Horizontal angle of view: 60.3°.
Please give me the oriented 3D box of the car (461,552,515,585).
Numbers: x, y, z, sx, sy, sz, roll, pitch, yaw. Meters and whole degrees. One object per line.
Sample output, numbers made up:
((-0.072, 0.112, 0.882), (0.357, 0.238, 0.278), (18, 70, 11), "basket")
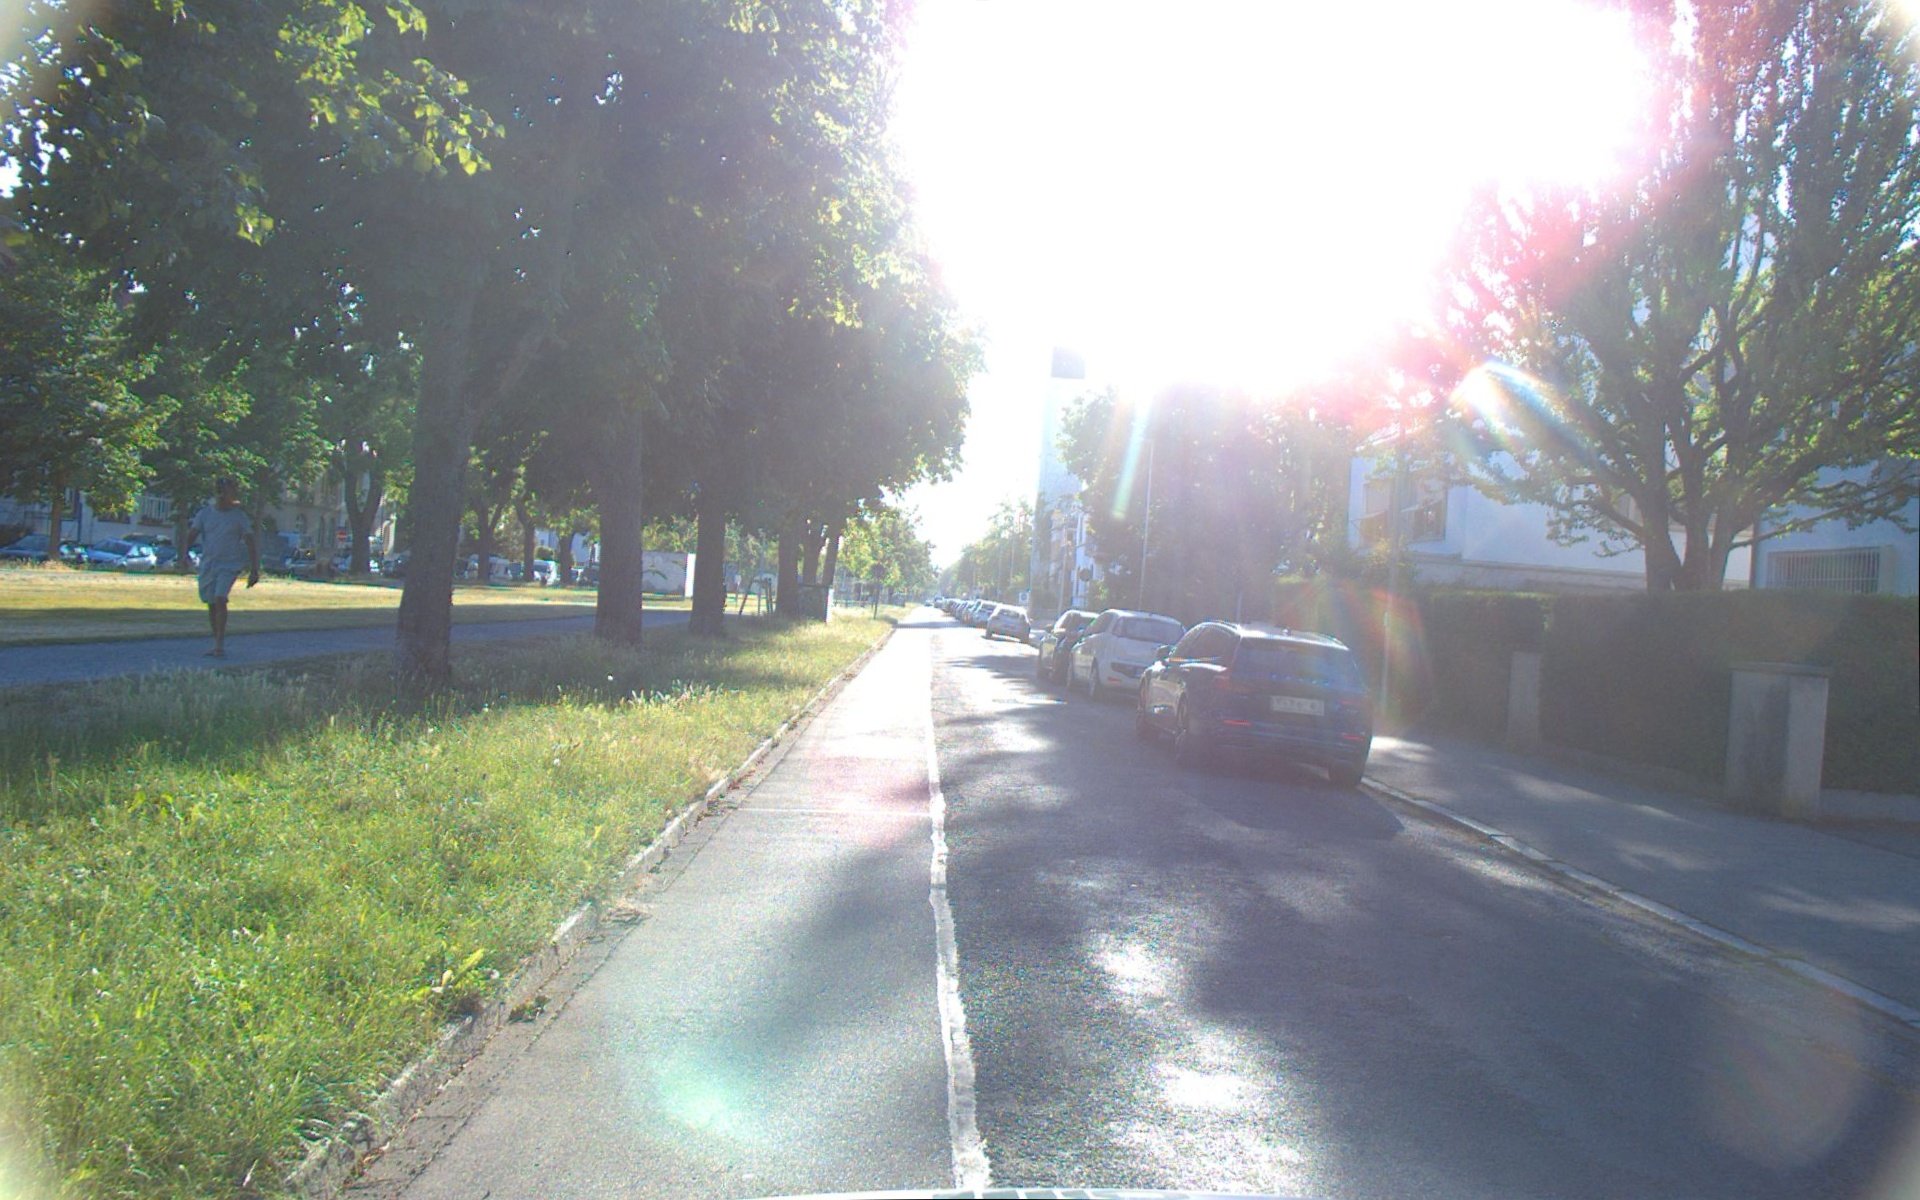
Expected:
((-35.544, -2.364, 124.663), (2.483, 2.275, 5.458), (3, 1, -1), "car")

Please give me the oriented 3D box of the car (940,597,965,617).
((-0.606, 0.535, 134.453), (1.953, 1.489, 4.000), (4, 0, 0), "car")

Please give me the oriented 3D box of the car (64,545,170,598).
((-34.140, -1.117, 67.127), (1.953, 1.892, 4.255), (4, 0, 0), "car")

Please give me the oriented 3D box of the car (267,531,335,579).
((-40.512, -2.737, 101.827), (1.953, 2.719, 5.186), (3, 0, -1), "car")

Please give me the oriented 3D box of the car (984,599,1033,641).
((2.038, 0.811, 70.065), (1.723, 1.443, 4.071), (10, 0, -1), "car")

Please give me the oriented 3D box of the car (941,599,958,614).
((-1.202, 0.757, 195.192), (1.940, 1.712, 4.000), (4, 0, 0), "car")

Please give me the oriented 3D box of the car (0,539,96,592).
((-34.245, -1.285, 61.451), (1.953, 1.751, 4.255), (4, 0, 0), "car")

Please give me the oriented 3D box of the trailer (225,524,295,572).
((-40.364, -2.957, 95.477), (1.953, 2.470, 4.723), (3, 0, -1), "trailer")

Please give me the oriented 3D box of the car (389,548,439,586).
((-35.057, -2.098, 106.270), (1.651, 2.213, 4.314), (4, 0, 0), "car")

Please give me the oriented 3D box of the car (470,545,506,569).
((-42.646, -3.908, 149.585), (1.953, 2.049, 4.484), (-1, 1, -1), "car")

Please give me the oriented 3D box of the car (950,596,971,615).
((0.030, 0.515, 160.659), (1.953, 1.657, 4.000), (4, 0, 0), "car")

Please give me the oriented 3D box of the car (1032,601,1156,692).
((2.583, 0.860, 32.863), (1.715, 1.502, 4.285), (5, 0, -4), "car")

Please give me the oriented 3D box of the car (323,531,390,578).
((-40.897, -3.034, 112.277), (2.388, 2.973, 5.816), (1, 0, -1), "car")

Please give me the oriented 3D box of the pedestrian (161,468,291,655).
((-7.393, -0.384, 16.705), (0.709, 1.788, 0.993), (4, 0, 5), "pedestrian")

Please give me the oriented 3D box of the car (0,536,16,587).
((-33.814, -1.405, 55.369), (1.953, 1.713, 4.000), (4, 0, 1), "car")

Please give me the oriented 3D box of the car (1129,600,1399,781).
((3.019, 0.839, 17.435), (1.757, 1.518, 4.672), (4, 0, -2), "car")

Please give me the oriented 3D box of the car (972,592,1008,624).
((1.675, 0.438, 93.260), (1.723, 1.633, 4.357), (3, 0, -2), "car")

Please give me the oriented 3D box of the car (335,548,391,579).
((-34.622, -2.084, 96.026), (1.650, 1.586, 4.314), (4, 0, 0), "car")

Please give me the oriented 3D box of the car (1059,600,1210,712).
((2.853, 0.881, 27.858), (1.659, 1.508, 3.925), (8, 0, -5), "car")
